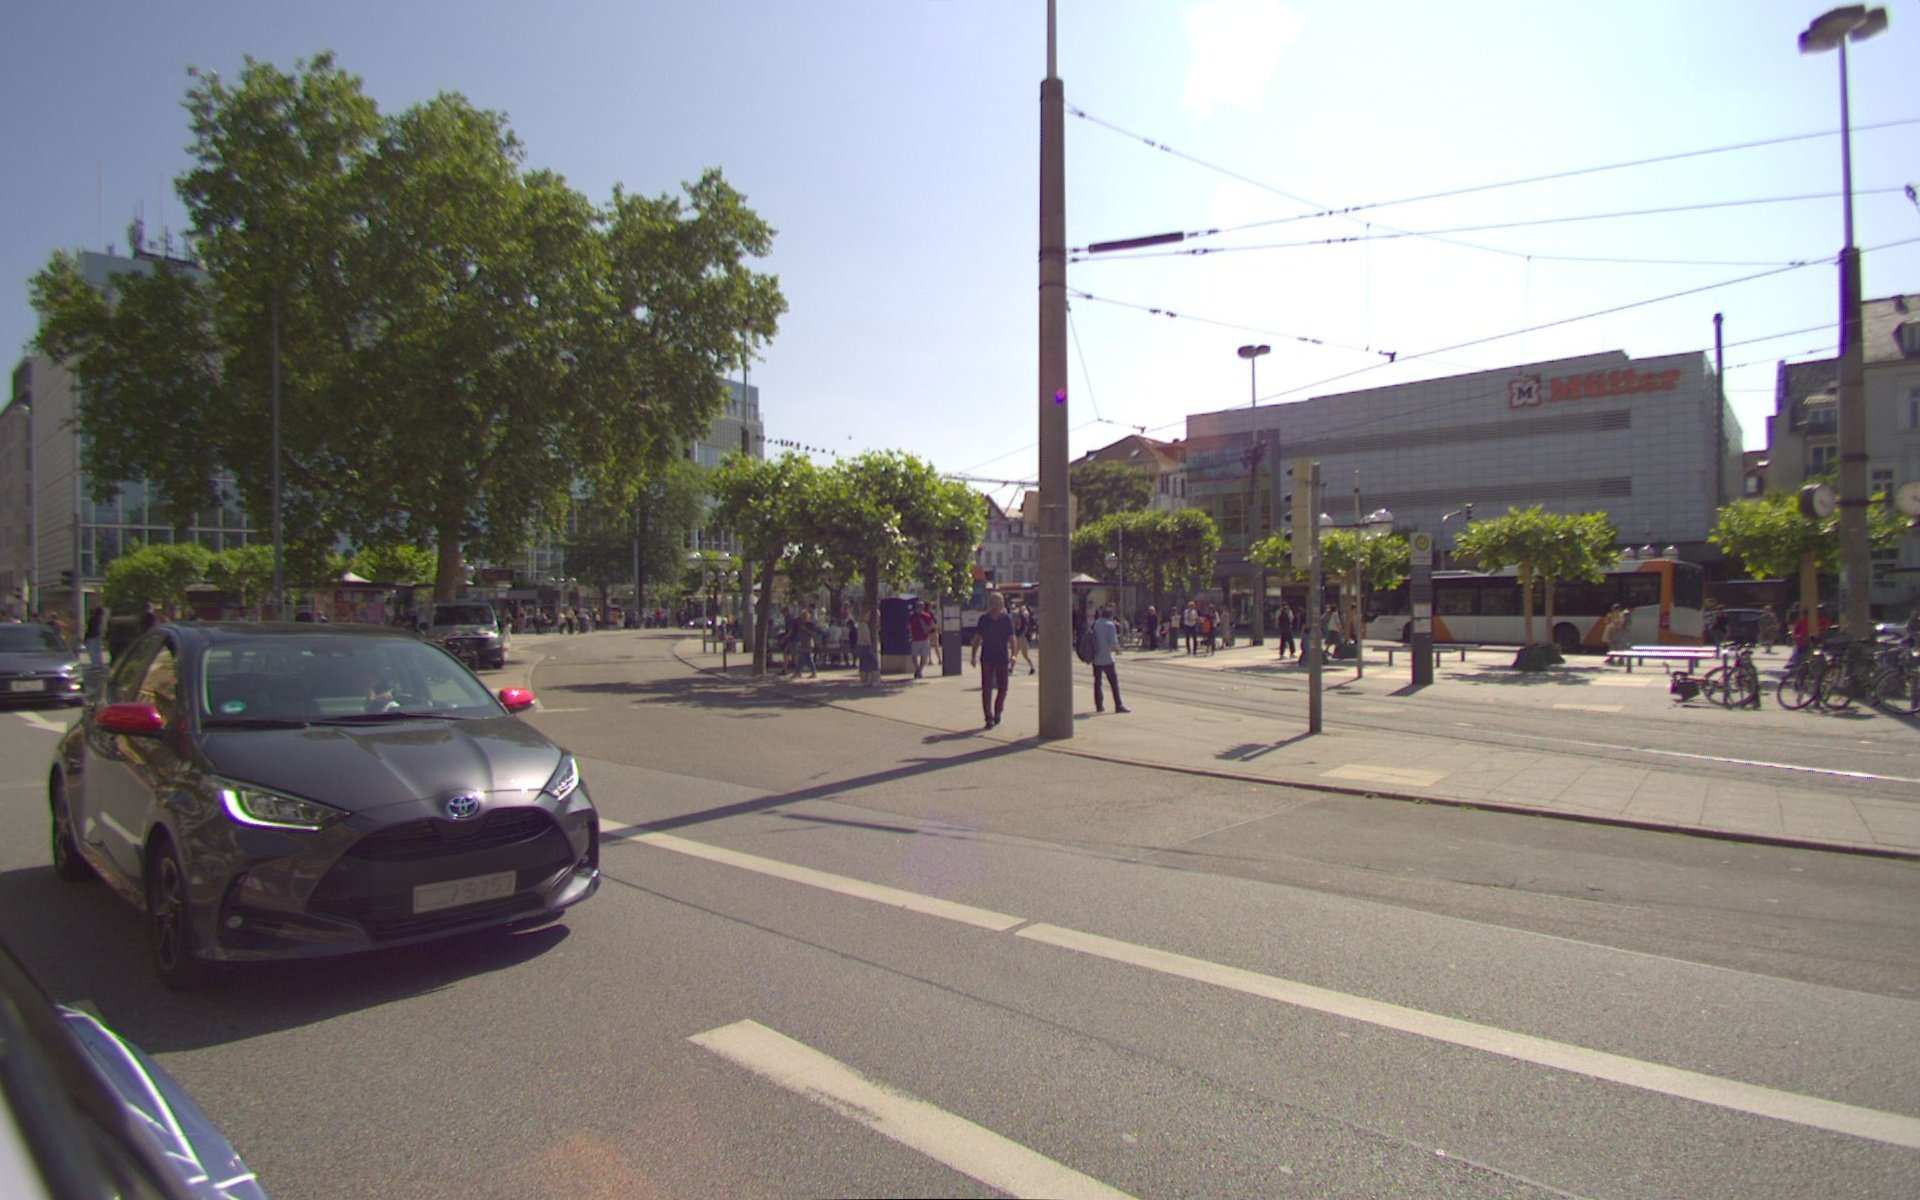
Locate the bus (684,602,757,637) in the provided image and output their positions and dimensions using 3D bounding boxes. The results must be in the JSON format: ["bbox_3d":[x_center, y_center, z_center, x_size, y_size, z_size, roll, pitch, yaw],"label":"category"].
[{"bbox_3d":[-22.342,1.737,95.317,2.363,2.811,12.152,-2,0,8],"label":"bus"}]

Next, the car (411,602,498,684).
[{"bbox_3d":[-14.331,1.128,28.611,1.966,2.029,5.083,-2,0,-28],"label":"car"}]

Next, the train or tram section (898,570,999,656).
[{"bbox_3d":[-0.811,0.603,51.126,2.578,3.856,9.547,-2,0,-16],"label":"train or tram section"}]

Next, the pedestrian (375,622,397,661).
[{"bbox_3d":[-17.988,1.285,31.698,0.499,1.182,0.350,-2,0,-16],"label":"pedestrian"}]

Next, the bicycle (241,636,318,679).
[{"bbox_3d":[-19.167,1.604,28.544,0.482,1.156,1.735,-2,-1,39],"label":"bicycle"}]

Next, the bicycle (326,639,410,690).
[{"bbox_3d":[-14.550,1.570,24.907,0.482,1.156,1.735,-2,-1,39],"label":"bicycle"}]

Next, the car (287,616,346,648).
[{"bbox_3d":[-43.975,2.193,69.116,3.989,2.029,1.977,-2,0,34],"label":"car"}]

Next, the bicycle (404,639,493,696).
[{"bbox_3d":[-11.364,1.482,22.538,0.482,1.156,1.735,-2,-1,39],"label":"bicycle"}]

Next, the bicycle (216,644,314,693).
[{"bbox_3d":[-16.004,1.563,23.289,2.616,1.030,0.823,-2,0,31],"label":"bicycle"}]

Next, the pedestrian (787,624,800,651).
[{"bbox_3d":[-9.349,2.076,56.777,0.547,1.483,0.457,-2,0,-42],"label":"pedestrian"}]

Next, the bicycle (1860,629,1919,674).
[{"bbox_3d":[31.556,1.681,33.019,0.807,1.389,3.163,-2,0,-28],"label":"bicycle"}]

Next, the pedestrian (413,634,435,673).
[{"bbox_3d":[-17.346,1.728,32.762,0.493,1.215,0.461,-2,0,-16],"label":"pedestrian"}]

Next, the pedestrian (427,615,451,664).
[{"bbox_3d":[-19.308,1.452,37.501,0.611,1.760,0.532,-2,0,31],"label":"pedestrian"}]

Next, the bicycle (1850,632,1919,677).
[{"bbox_3d":[30.804,1.758,32.542,0.807,1.389,3.164,-2,0,-28],"label":"bicycle"}]

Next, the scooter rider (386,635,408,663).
[{"bbox_3d":[-17.487,1.518,31.429,0.499,0.845,0.350,-2,0,-16],"label":"scooter rider"}]

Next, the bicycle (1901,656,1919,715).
[{"bbox_3d":[14.891,1.336,15.255,0.544,0.862,1.853,-2,0,28],"label":"bicycle"}]

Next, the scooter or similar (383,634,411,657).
[{"bbox_3d":[-17.389,1.392,31.258,0.570,0.652,0.788,-2,0,-16],"label":"scooter or similar"}]

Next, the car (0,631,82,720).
[{"bbox_3d":[-16.794,1.268,17.710,3.999,1.415,1.677,-2,-2,42],"label":"car"}]

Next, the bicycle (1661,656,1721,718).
[{"bbox_3d":[12.443,1.459,17.255,0.544,0.862,1.853,-2,0,28],"label":"bicycle"}]

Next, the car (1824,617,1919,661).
[{"bbox_3d":[35.094,1.447,37.861,3.991,1.519,1.740,-2,0,35],"label":"car"}]

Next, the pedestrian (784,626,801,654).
[{"bbox_3d":[-9.112,2.159,55.033,0.547,1.483,0.759,-2,0,-42],"label":"pedestrian"}]

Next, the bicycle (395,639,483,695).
[{"bbox_3d":[-11.751,1.492,22.873,0.482,1.156,1.735,-2,-1,39],"label":"bicycle"}]

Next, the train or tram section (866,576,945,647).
[{"bbox_3d":[-3.426,0.632,60.306,2.578,3.856,9.547,-2,0,-16],"label":"train or tram section"}]

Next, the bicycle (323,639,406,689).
[{"bbox_3d":[-14.932,1.580,25.419,0.482,1.156,1.735,-2,-1,39],"label":"bicycle"}]

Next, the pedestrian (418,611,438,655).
[{"bbox_3d":[-21.084,1.298,40.101,0.547,1.740,0.492,-2,0,-42],"label":"pedestrian"}]

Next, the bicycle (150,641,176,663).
[{"bbox_3d":[-44.009,2.870,55.871,1.753,1.156,0.586,-1,-1,34],"label":"bicycle"}]

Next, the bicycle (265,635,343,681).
[{"bbox_3d":[-17.978,1.573,27.762,0.482,1.156,1.735,-2,-1,39],"label":"bicycle"}]

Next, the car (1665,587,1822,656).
[{"bbox_3d":[34.956,0.973,45.362,5.387,2.909,1.936,-2,0,35],"label":"car"}]

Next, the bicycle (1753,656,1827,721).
[{"bbox_3d":[13.463,1.412,16.463,0.544,0.862,1.853,-2,0,28],"label":"bicycle"}]

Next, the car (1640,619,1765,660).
[{"bbox_3d":[30.137,1.603,41.220,3.991,1.519,1.740,-2,0,35],"label":"car"}]

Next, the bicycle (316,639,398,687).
[{"bbox_3d":[-15.416,1.594,25.900,0.482,1.156,1.735,-2,-1,39],"label":"bicycle"}]

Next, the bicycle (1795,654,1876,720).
[{"bbox_3d":[13.948,1.355,16.161,0.544,0.862,1.853,-2,0,28],"label":"bicycle"}]

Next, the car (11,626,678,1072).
[{"bbox_3d":[-3.434,0.893,5.353,3.995,1.486,1.759,-1,-3,39],"label":"car"}]

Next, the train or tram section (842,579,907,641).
[{"bbox_3d":[-6.015,0.662,69.436,2.578,3.856,9.547,-2,0,-16],"label":"train or tram section"}]

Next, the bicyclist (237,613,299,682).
[{"bbox_3d":[-15.898,1.067,23.240,1.159,1.509,0.821,-2,0,37],"label":"bicyclist"}]

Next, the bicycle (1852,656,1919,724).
[{"bbox_3d":[14.427,1.360,15.609,0.544,0.862,1.853,-2,0,28],"label":"bicycle"}]

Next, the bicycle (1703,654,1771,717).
[{"bbox_3d":[12.994,1.405,16.966,0.580,0.878,1.853,-2,0,28],"label":"bicycle"}]

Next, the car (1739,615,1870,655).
[{"bbox_3d":[34.703,1.436,41.733,3.991,1.519,1.740,-2,0,35],"label":"car"}]

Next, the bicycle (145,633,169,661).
[{"bbox_3d":[-35.645,2.088,44.951,0.718,1.152,1.917,-2,0,-35],"label":"bicycle"}]

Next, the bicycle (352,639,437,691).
[{"bbox_3d":[-13.499,1.541,24.197,0.482,1.156,1.735,-2,-1,39],"label":"bicycle"}]

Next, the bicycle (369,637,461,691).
[{"bbox_3d":[-12.627,1.462,23.477,0.482,1.156,1.842,-2,-1,39],"label":"bicycle"}]

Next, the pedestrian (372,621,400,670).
[{"bbox_3d":[-18.089,1.424,31.895,0.570,1.472,0.788,-2,0,-16],"label":"pedestrian"}]

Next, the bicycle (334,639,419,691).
[{"bbox_3d":[-14.117,1.559,24.530,0.482,1.156,1.735,-2,-1,39],"label":"bicycle"}]

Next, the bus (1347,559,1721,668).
[{"bbox_3d":[20.965,0.478,38.466,3.014,3.445,12.498,-2,0,-30],"label":"bus"}]

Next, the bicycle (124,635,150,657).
[{"bbox_3d":[-44.650,2.491,54.915,1.753,1.156,0.586,-1,-1,34],"label":"bicycle"}]
